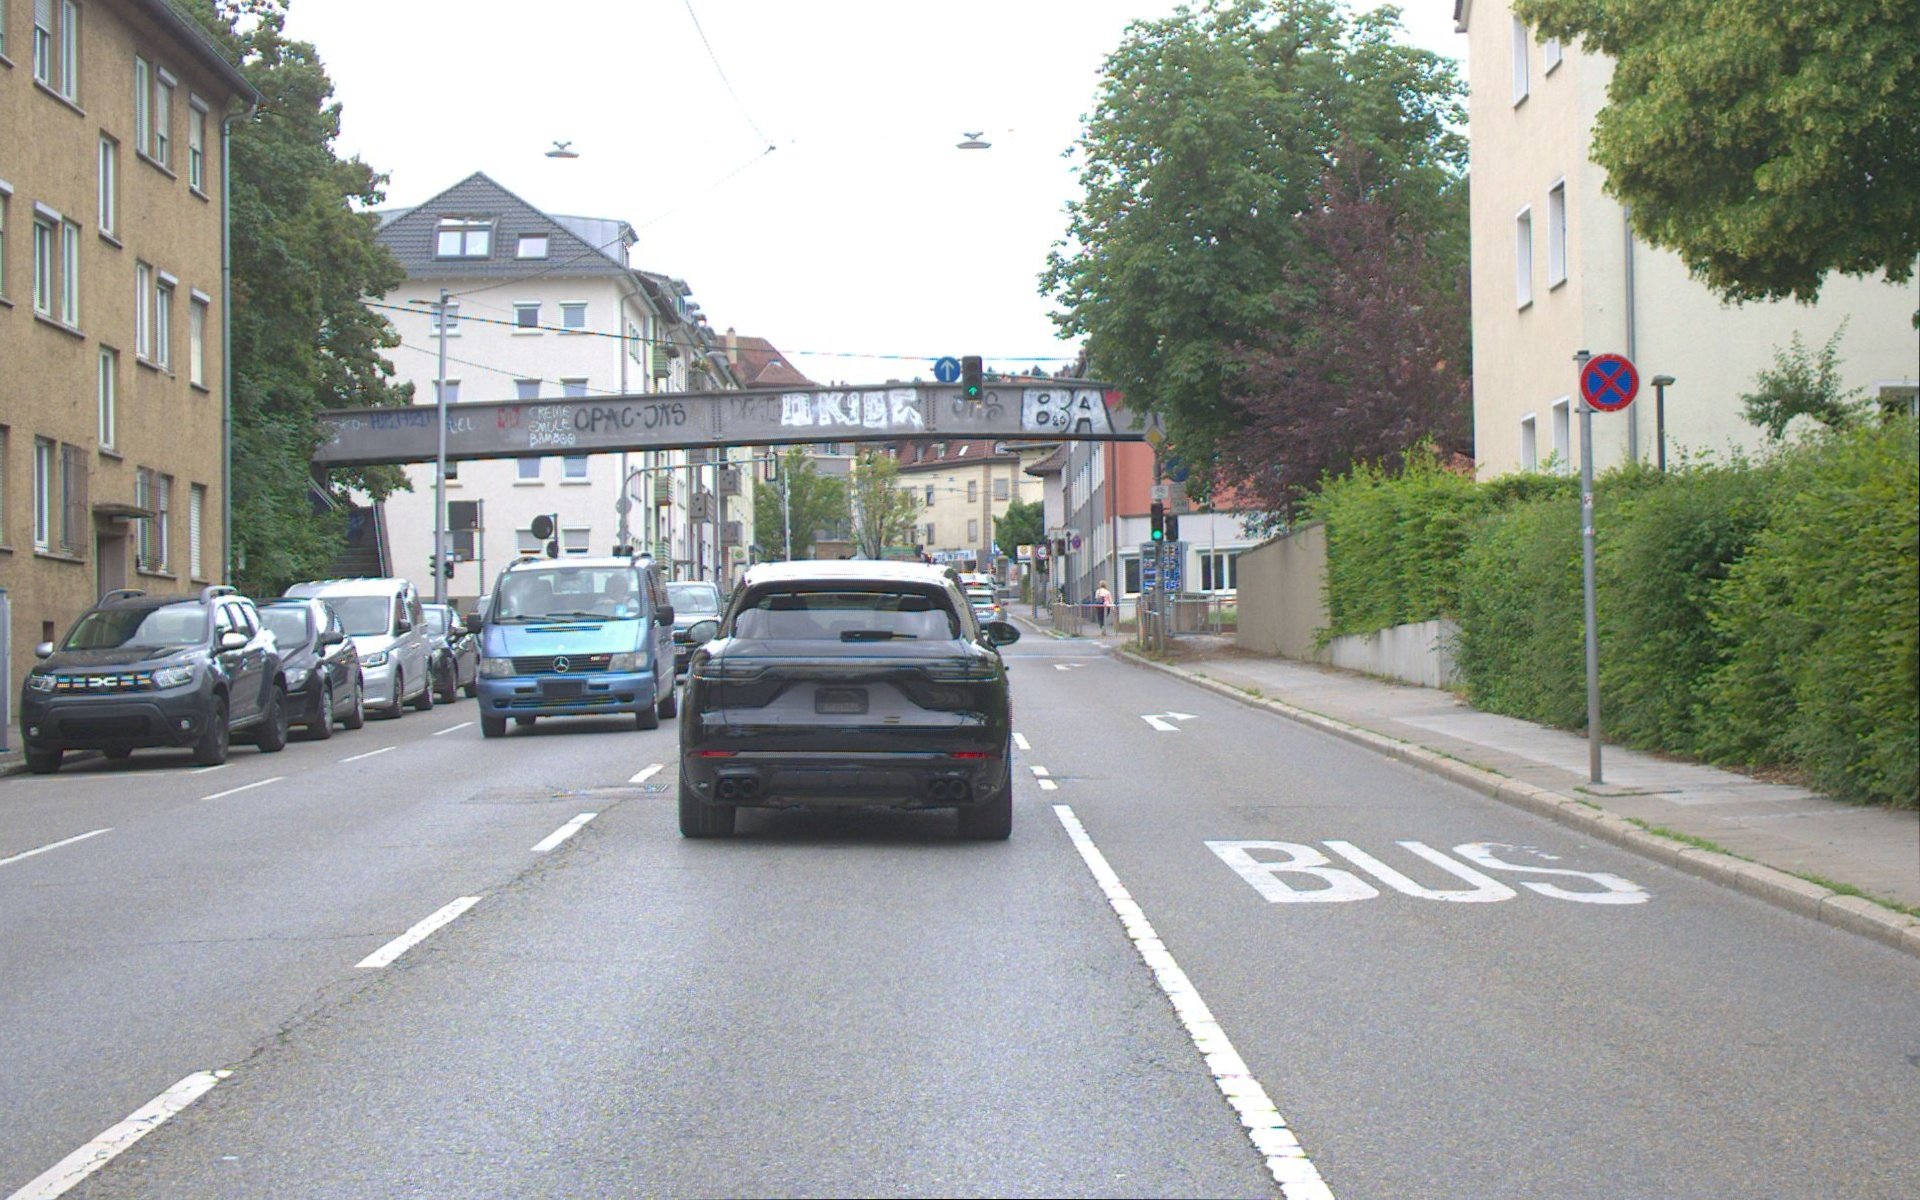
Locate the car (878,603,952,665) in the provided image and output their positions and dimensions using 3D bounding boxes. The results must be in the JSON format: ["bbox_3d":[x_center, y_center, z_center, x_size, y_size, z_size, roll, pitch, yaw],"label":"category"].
[{"bbox_3d":[-1.072,0.797,83.086,1.741,1.395,4.000,0,1,0],"label":"car"}]

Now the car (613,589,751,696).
[{"bbox_3d":[-4.357,0.647,54.374,1.840,1.585,4.164,-2,0,-1],"label":"car"}]

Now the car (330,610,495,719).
[{"bbox_3d":[-7.874,0.904,49.733,1.745,1.434,3.913,-2,0,-1],"label":"car"}]

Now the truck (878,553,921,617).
[{"bbox_3d":[-3.357,-0.819,190.543,2.266,3.413,9.878,-1,0,-1],"label":"truck"}]

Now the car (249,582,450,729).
[{"bbox_3d":[-7.826,0.678,44.439,1.776,1.748,4.557,-2,0,-1],"label":"car"}]

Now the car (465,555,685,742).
[{"bbox_3d":[-4.168,0.490,37.870,1.931,1.894,4.590,-1,0,-1],"label":"car"}]

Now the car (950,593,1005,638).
[{"bbox_3d":[0.567,0.499,112.019,1.741,1.395,4.000,0,1,0],"label":"car"}]

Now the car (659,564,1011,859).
[{"bbox_3d":[-0.717,0.612,21.500,1.993,1.656,4.000,0,1,0],"label":"car"}]

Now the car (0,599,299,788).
[{"bbox_3d":[-7.753,0.841,33.224,1.783,1.603,4.264,-3,0,1],"label":"car"}]

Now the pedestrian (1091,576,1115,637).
[{"bbox_3d":[4.229,0.184,101.669,0.652,1.786,0.715,0,0,-3],"label":"pedestrian"}]

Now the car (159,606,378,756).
[{"bbox_3d":[-7.708,0.861,38.651,1.751,1.525,4.099,-2,0,-2],"label":"car"}]

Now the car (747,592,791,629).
[{"bbox_3d":[-8.761,0.496,157.566,1.765,1.644,4.000,-1,0,0],"label":"car"}]

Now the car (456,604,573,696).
[{"bbox_3d":[-8.141,0.898,63.060,1.745,1.563,3.908,-2,0,-2],"label":"car"}]
